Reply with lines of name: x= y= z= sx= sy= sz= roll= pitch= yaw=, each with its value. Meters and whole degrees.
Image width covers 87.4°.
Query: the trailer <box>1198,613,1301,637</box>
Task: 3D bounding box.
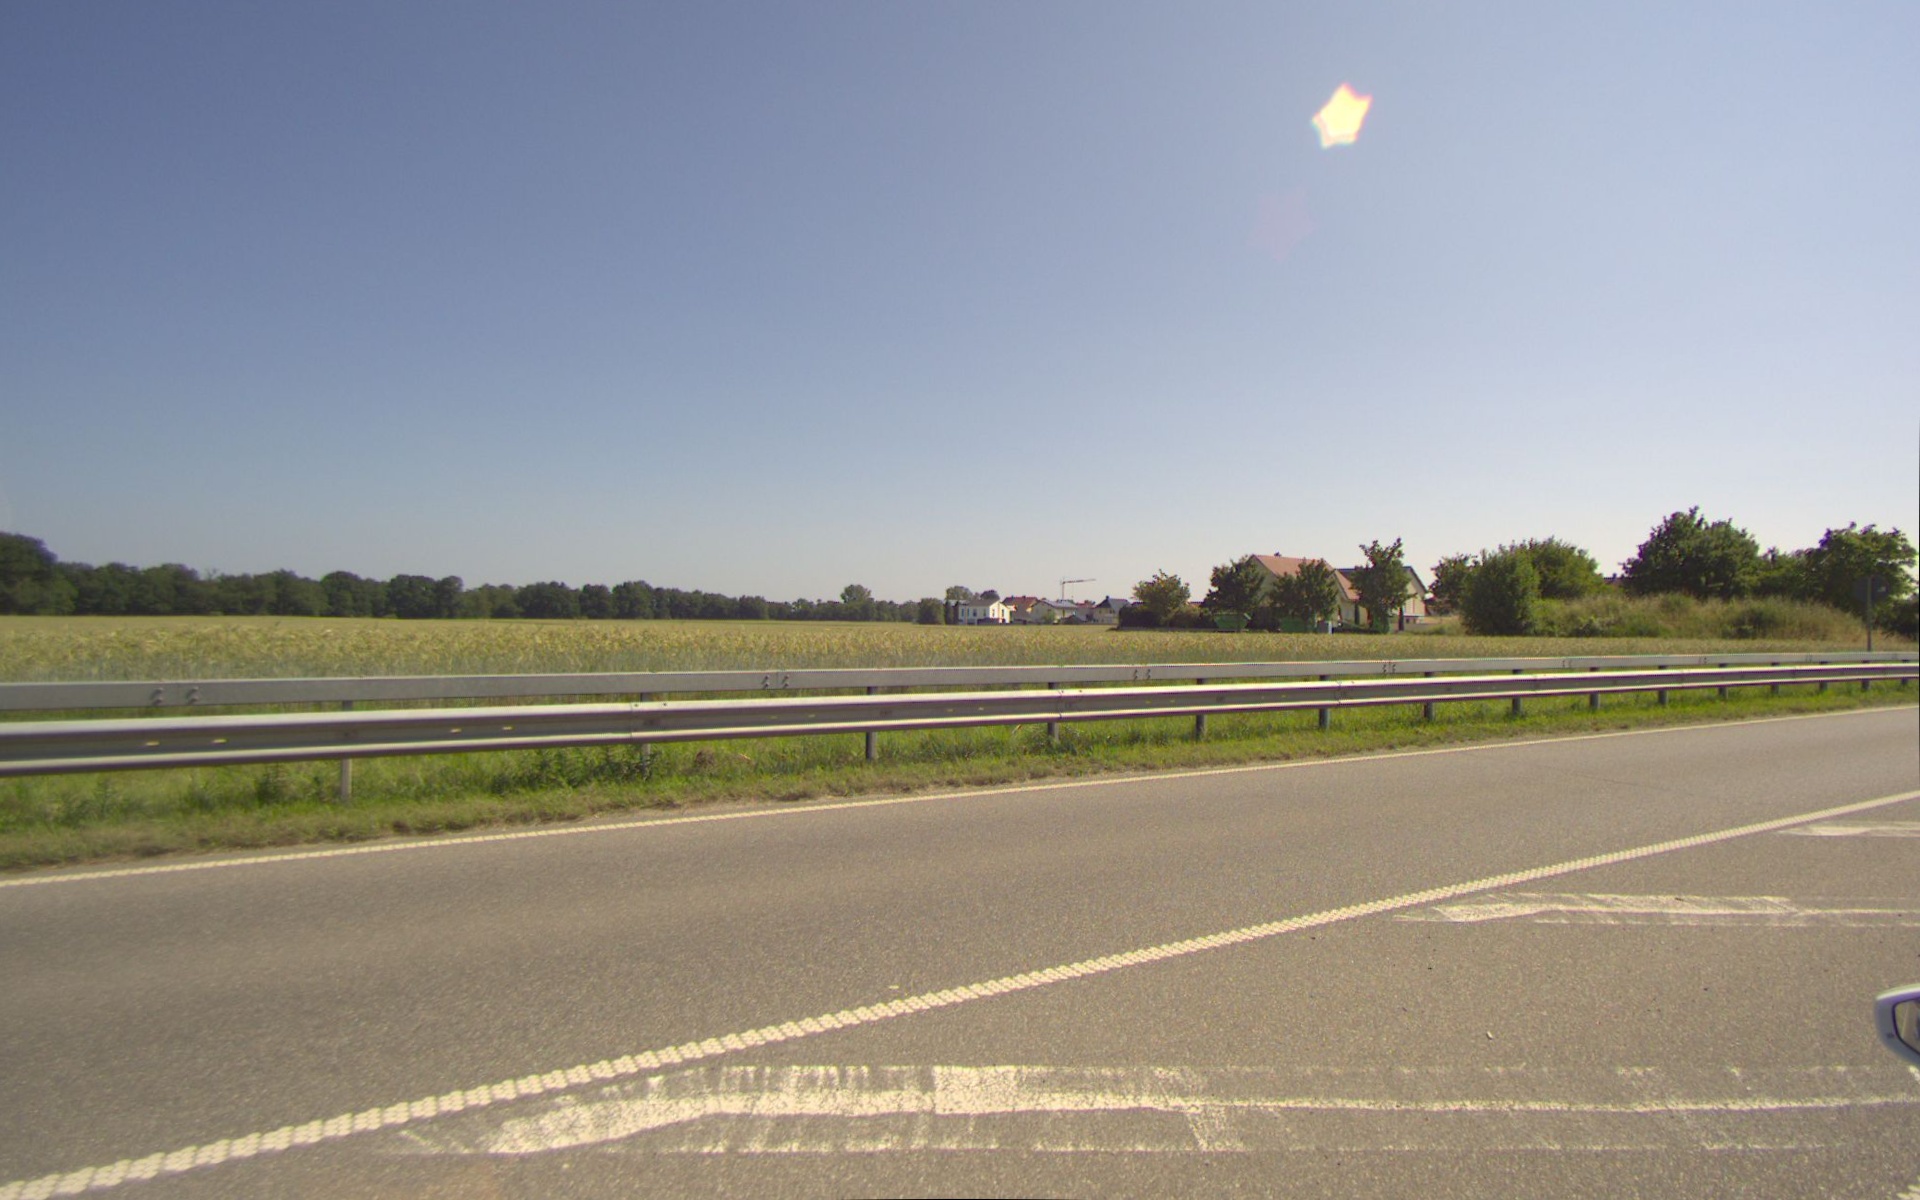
trailer: x=30.684 y=2.595 z=106.560 sx=10.292 sy=2.308 sz=1.999 roll=1 pitch=0 yaw=24

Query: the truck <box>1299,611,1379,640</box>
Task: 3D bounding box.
truck: x=38.768 y=2.568 z=102.790 sx=7.540 sy=2.684 sz=2.520 roll=1 pitch=0 yaw=24
